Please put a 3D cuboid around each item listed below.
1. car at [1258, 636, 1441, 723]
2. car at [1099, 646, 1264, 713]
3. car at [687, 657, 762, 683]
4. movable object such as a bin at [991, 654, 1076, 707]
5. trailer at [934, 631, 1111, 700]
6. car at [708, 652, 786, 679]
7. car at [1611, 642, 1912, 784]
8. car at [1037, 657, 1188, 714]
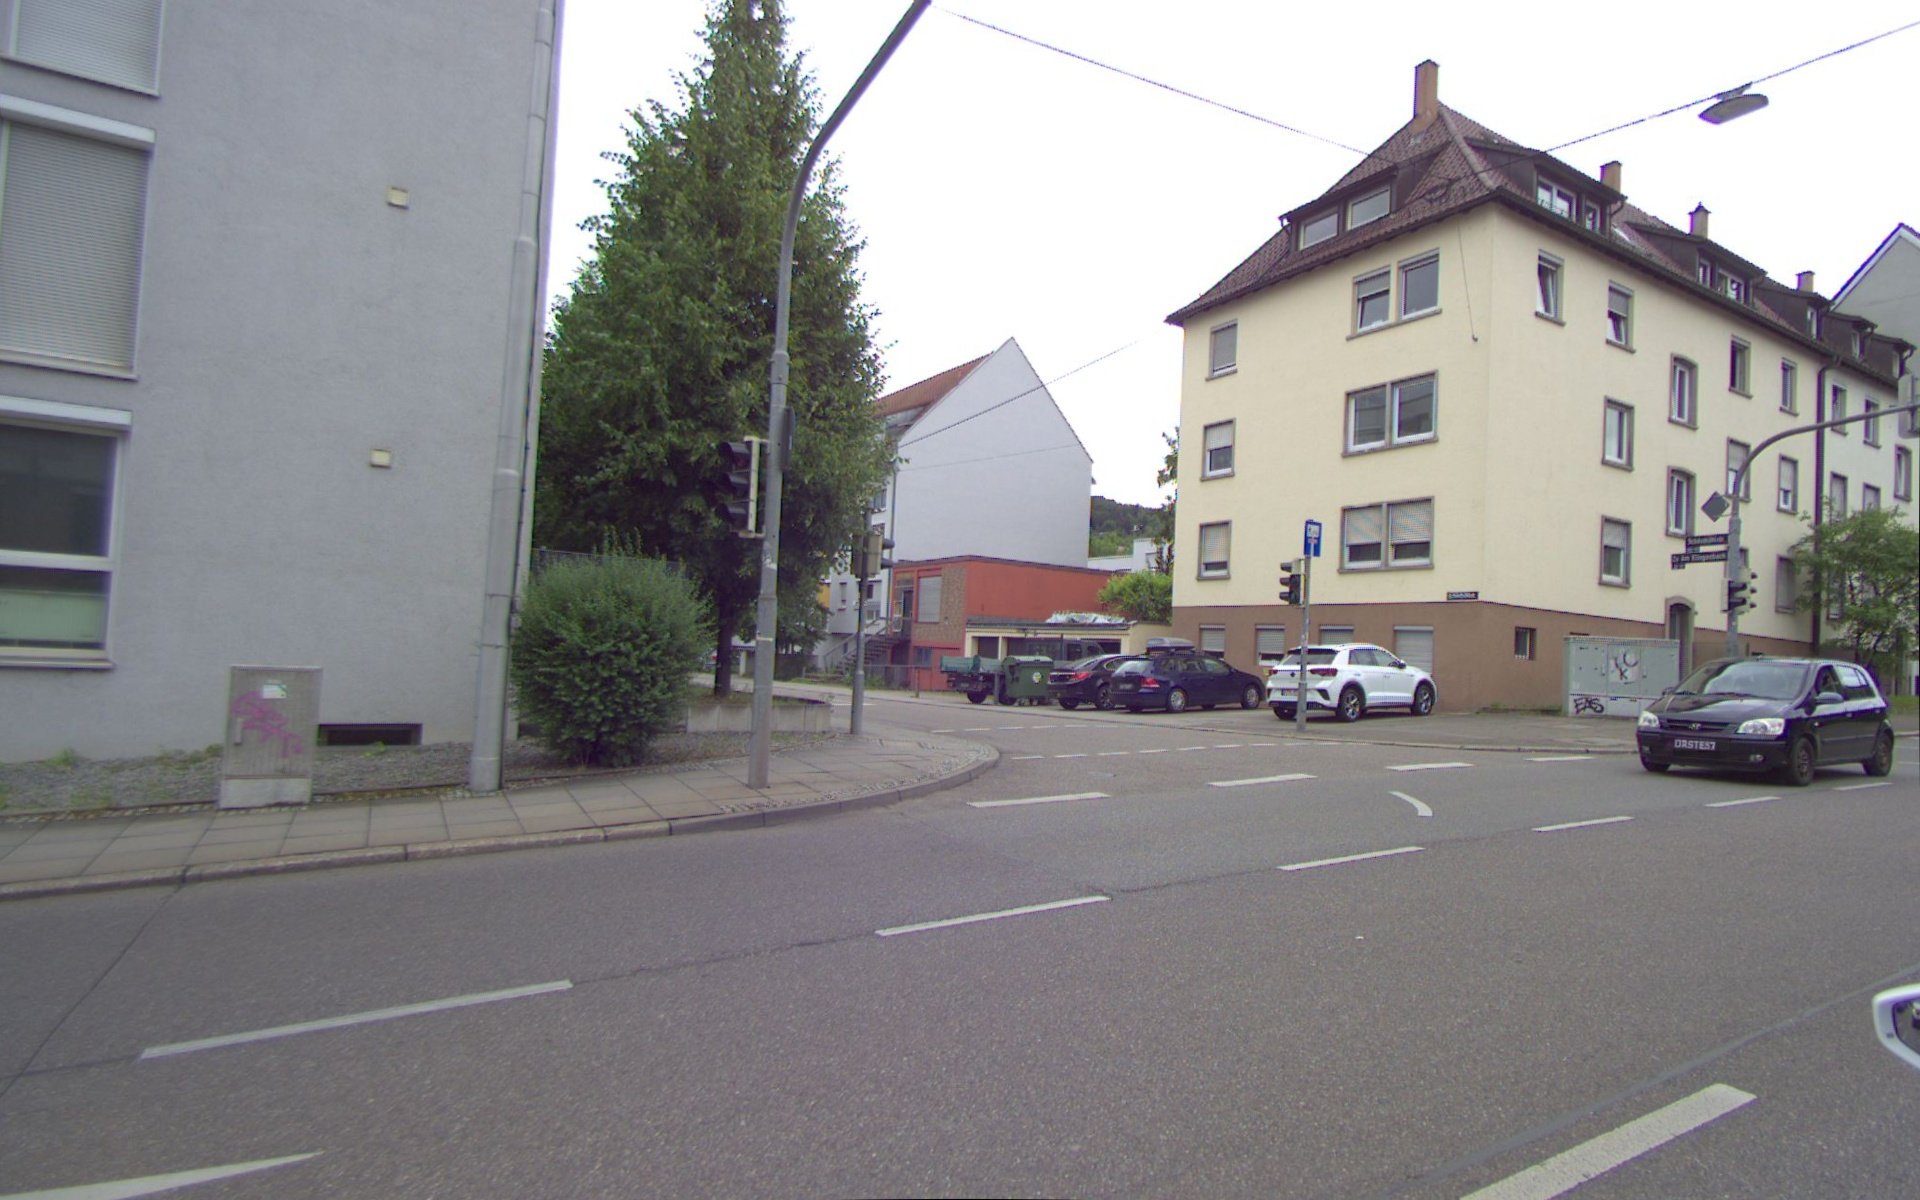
[{"bbox_3d":[8.308,1.624,21.332,3.960,1.683,1.660,1,-4,-35],"label":"car"},{"bbox_3d":[5.650,1.985,25.527,4.053,1.566,1.662,1,-4,-30],"label":"car"},{"bbox_3d":[-13.753,4.061,58.779,3.953,1.380,1.662,1,-1,-30],"label":"car"},{"bbox_3d":[2.201,2.377,30.105,2.128,1.448,1.413,1,0,-30],"label":"movable object such as a bin"},{"bbox_3d":[2.004,2.015,31.778,5.225,1.954,2.220,1,0,-29],"label":"trailer"},{"bbox_3d":[-11.877,3.664,56.129,3.953,1.380,1.662,1,-1,-30],"label":"car"},{"bbox_3d":[10.113,1.335,12.643,3.695,1.538,1.657,1,-5,-30],"label":"car"},{"bbox_3d":[4.206,2.299,27.544,3.953,1.380,1.662,1,-1,-30],"label":"car"}]
